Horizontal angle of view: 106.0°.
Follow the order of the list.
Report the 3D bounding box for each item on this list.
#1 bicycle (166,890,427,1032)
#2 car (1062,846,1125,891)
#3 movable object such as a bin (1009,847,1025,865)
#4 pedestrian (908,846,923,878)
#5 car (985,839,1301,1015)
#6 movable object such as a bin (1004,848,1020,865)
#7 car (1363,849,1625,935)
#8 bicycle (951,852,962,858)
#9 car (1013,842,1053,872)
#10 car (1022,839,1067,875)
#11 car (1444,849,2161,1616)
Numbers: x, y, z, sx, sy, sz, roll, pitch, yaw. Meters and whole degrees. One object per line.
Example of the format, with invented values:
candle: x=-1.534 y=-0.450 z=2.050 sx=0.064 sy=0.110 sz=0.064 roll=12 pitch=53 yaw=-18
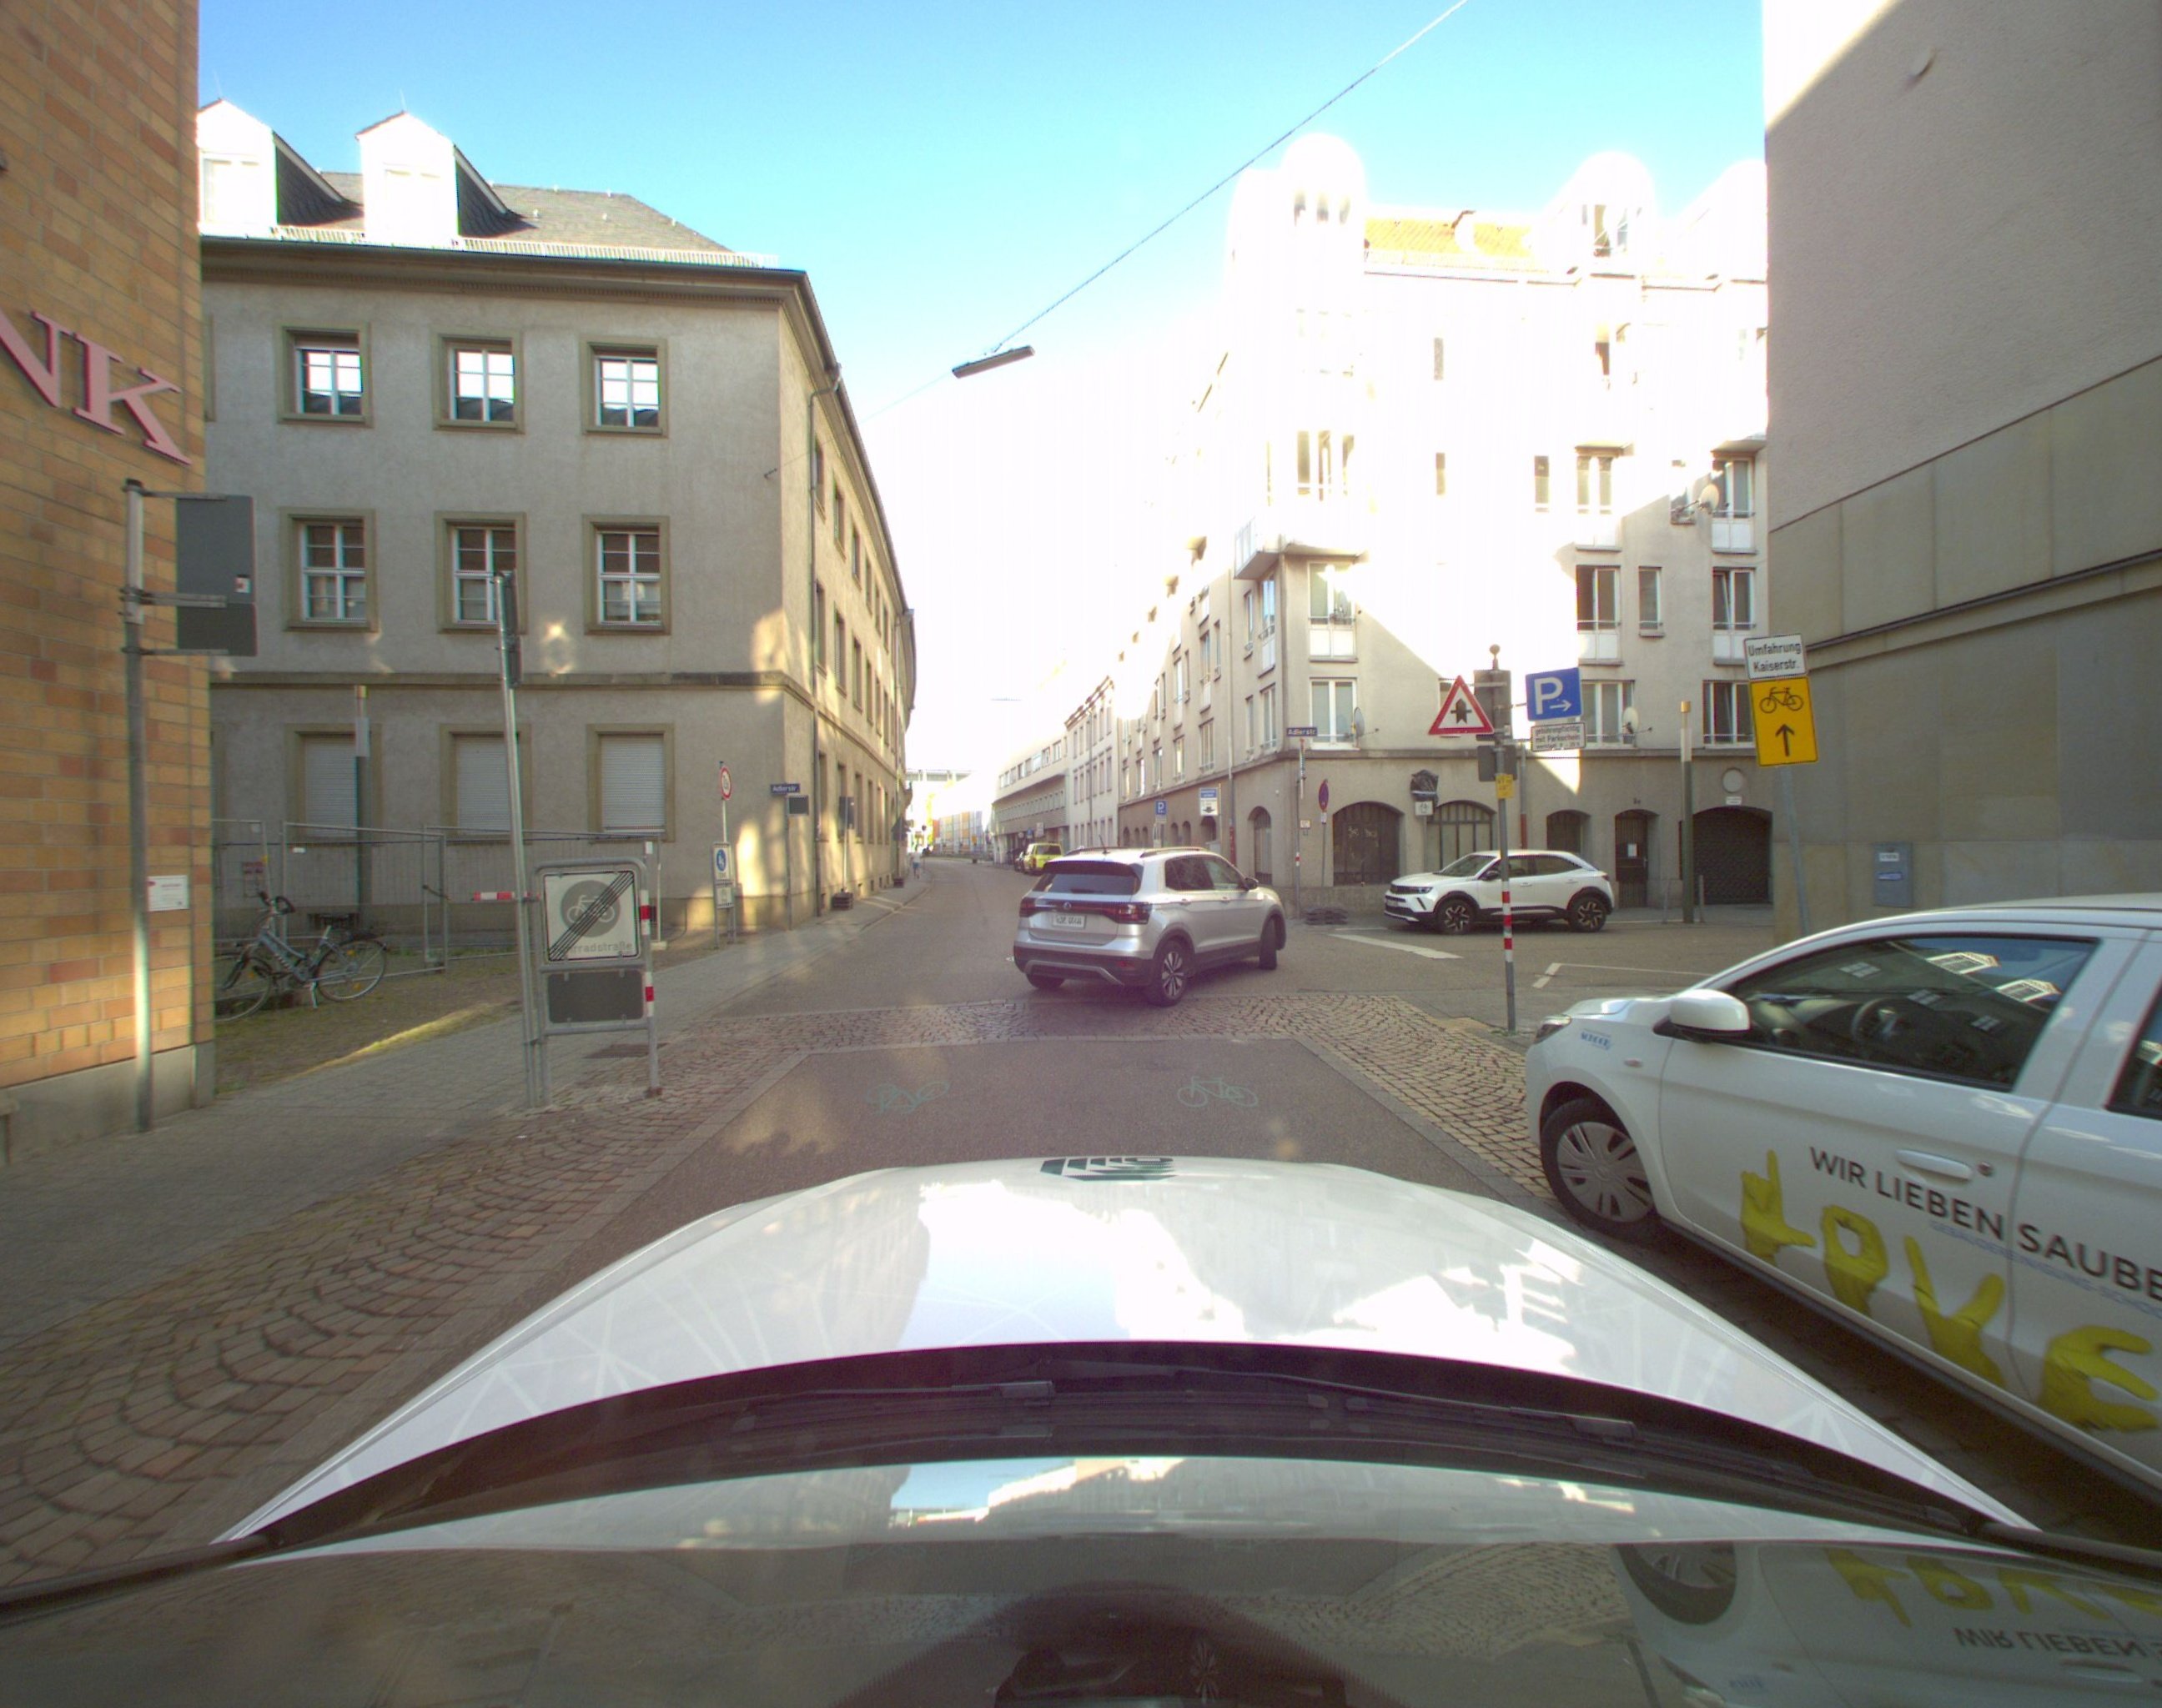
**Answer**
bicycle: x=-8.030 y=1.030 z=8.461 sx=0.802 sy=1.201 sz=1.781 roll=0 pitch=1 yaw=15
car: x=0.432 y=0.521 z=32.292 sx=1.966 sy=1.692 sz=4.091 roll=0 pitch=0 yaw=-7
movable object such as a bin: x=-5.758 y=0.202 z=72.960 sx=1.134 sy=1.558 sz=1.730 roll=-1 pitch=0 yaw=-15
pedestrian: x=-8.810 y=0.423 z=43.402 sx=0.767 sy=1.724 sz=0.684 roll=-1 pitch=0 yaw=-13
car: x=0.938 y=0.650 z=9.580 sx=1.818 sy=1.562 sz=4.026 roll=-1 pitch=1 yaw=36
movable object such as a bin: x=-6.323 y=0.221 z=74.661 sx=1.134 sy=1.479 sz=1.730 roll=-1 pitch=0 yaw=-15
car: x=7.929 y=0.687 z=15.922 sx=4.204 sy=1.553 sz=1.901 roll=0 pitch=0 yaw=-2
bicycle: x=-20.956 y=0.161 z=137.336 sx=1.782 sy=1.000 sz=0.544 roll=-1 pitch=0 yaw=-13
car: x=-3.266 y=0.187 z=54.527 sx=2.054 sy=1.873 sz=4.084 roll=-1 pitch=1 yaw=-12
car: x=-2.241 y=0.145 z=48.746 sx=2.054 sy=2.013 sz=4.158 roll=-1 pitch=1 yaw=-12
car: x=3.044 y=0.753 z=2.456 sx=1.885 sy=1.518 sz=4.057 roll=0 pitch=0 yaw=-4
